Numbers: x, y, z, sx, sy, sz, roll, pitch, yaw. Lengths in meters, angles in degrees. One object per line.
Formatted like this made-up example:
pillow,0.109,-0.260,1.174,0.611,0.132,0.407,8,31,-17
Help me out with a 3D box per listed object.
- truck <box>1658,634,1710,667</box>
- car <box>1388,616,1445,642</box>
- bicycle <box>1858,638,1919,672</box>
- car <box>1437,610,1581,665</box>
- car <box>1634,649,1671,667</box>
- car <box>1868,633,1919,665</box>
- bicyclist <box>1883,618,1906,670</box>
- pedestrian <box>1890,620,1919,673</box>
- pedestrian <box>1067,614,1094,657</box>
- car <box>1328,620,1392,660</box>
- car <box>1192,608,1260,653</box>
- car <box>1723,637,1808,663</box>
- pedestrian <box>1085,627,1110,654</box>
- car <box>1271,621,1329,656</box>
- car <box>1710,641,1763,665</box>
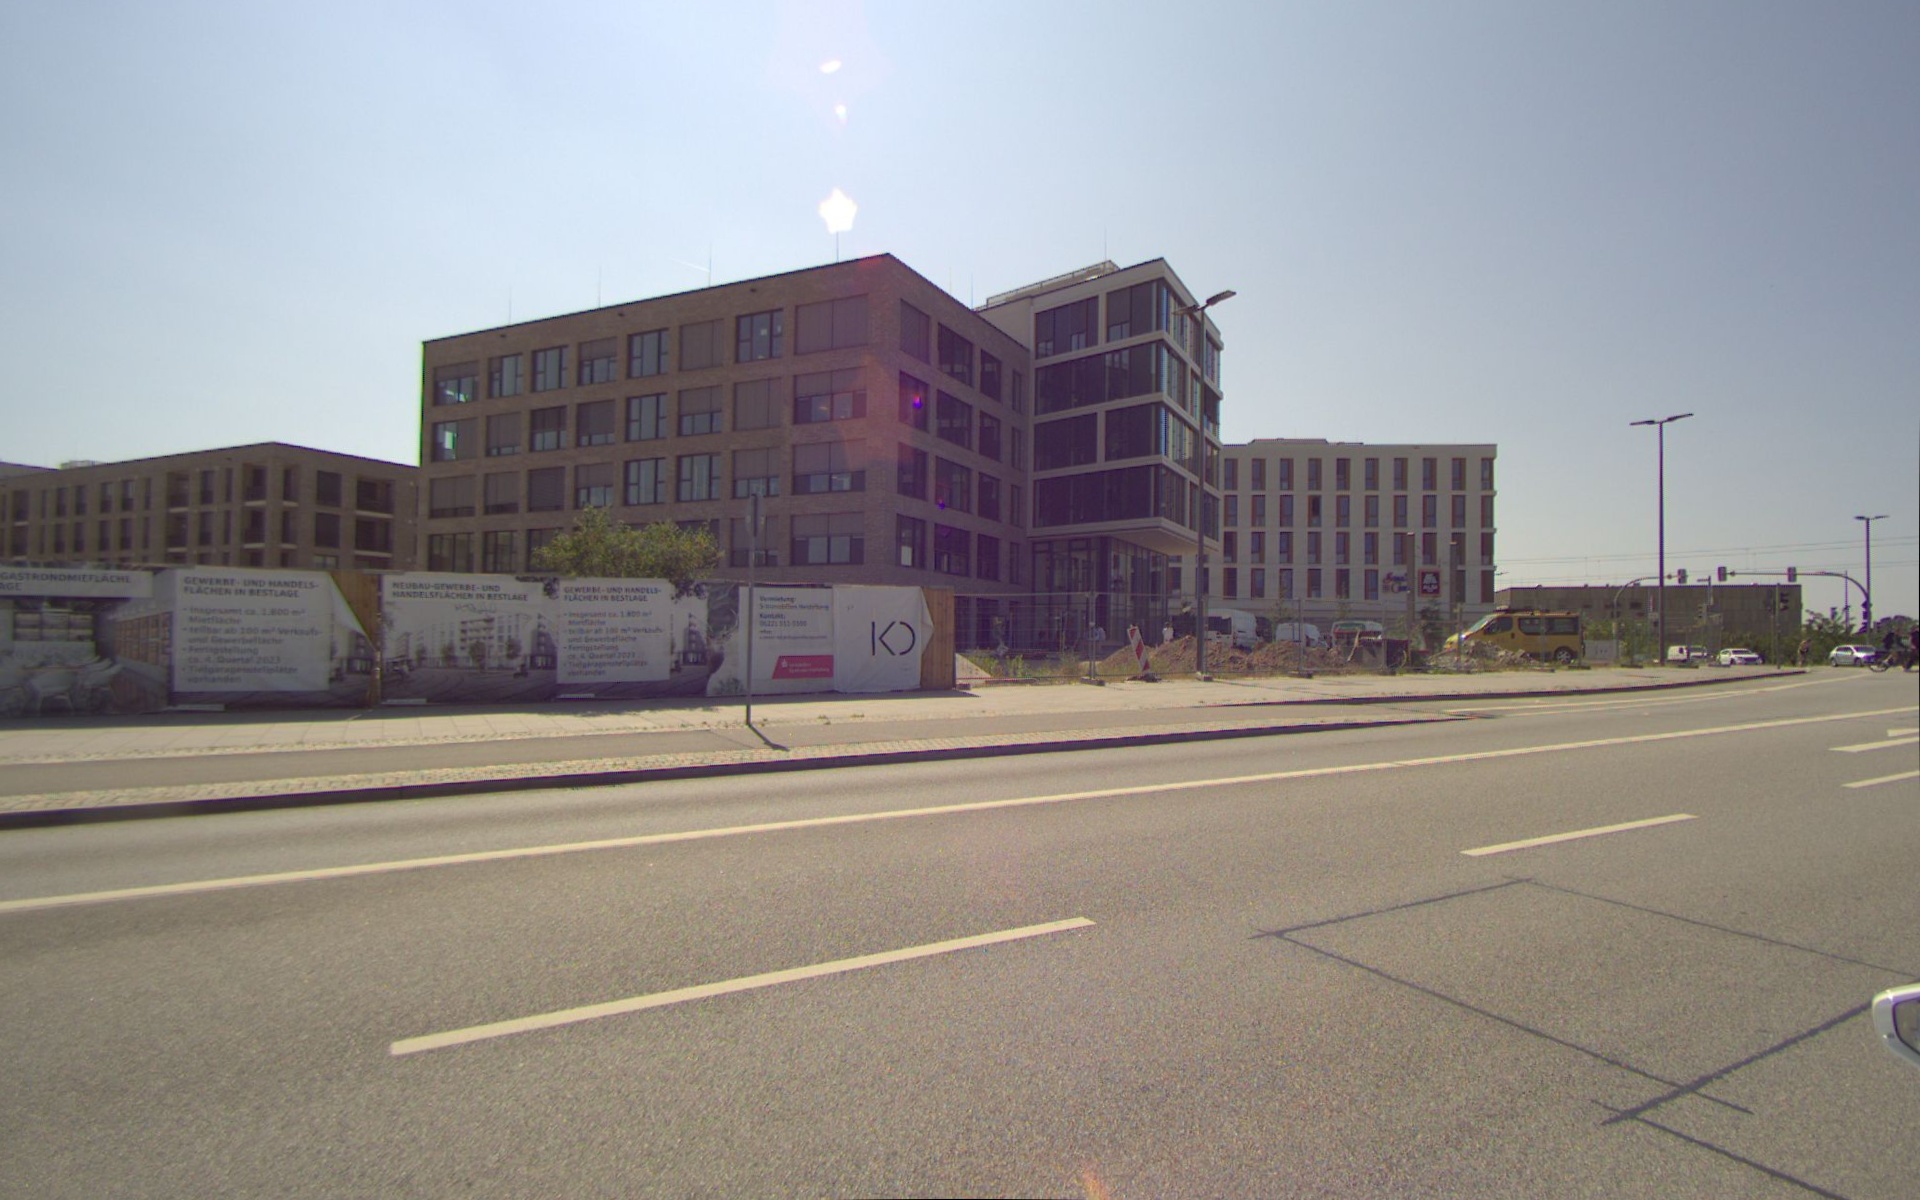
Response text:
truck,60.217,4.170,83.635,1.960,2.574,4.711,1,-1,15
car,39.414,2.476,86.774,1.986,2.040,3.950,2,0,-42
bicycle,35.550,2.088,38.193,0.552,1.193,2.060,2,0,-44
car,21.087,1.413,38.761,4.395,1.915,2.001,2,0,9
car,61.371,5.124,89.107,1.633,1.408,3.788,2,0,18
car,54.385,2.785,57.046,1.790,1.604,3.735,-5,1,-26
bicyclist,35.554,1.666,38.207,0.632,1.912,0.588,2,0,-44
pedestrian,34.897,1.709,36.984,0.745,1.888,0.737,2,0,-29
pedestrian,5.823,1.726,48.600,0.949,2.040,0.940,2,0,-16
car,18.901,1.831,47.328,1.967,1.730,4.550,2,0,32
car,13.230,1.491,49.869,2.175,2.083,4.164,2,0,30
car,51.200,3.152,63.925,1.653,1.571,3.964,2,-2,-24
pedestrian,7.471,2.196,54.605,1.098,1.391,0.742,2,0,-16
car,16.505,1.840,48.648,1.774,1.528,3.991,2,0,32
car,63.572,4.315,82.298,1.893,1.839,4.049,1,-1,13
